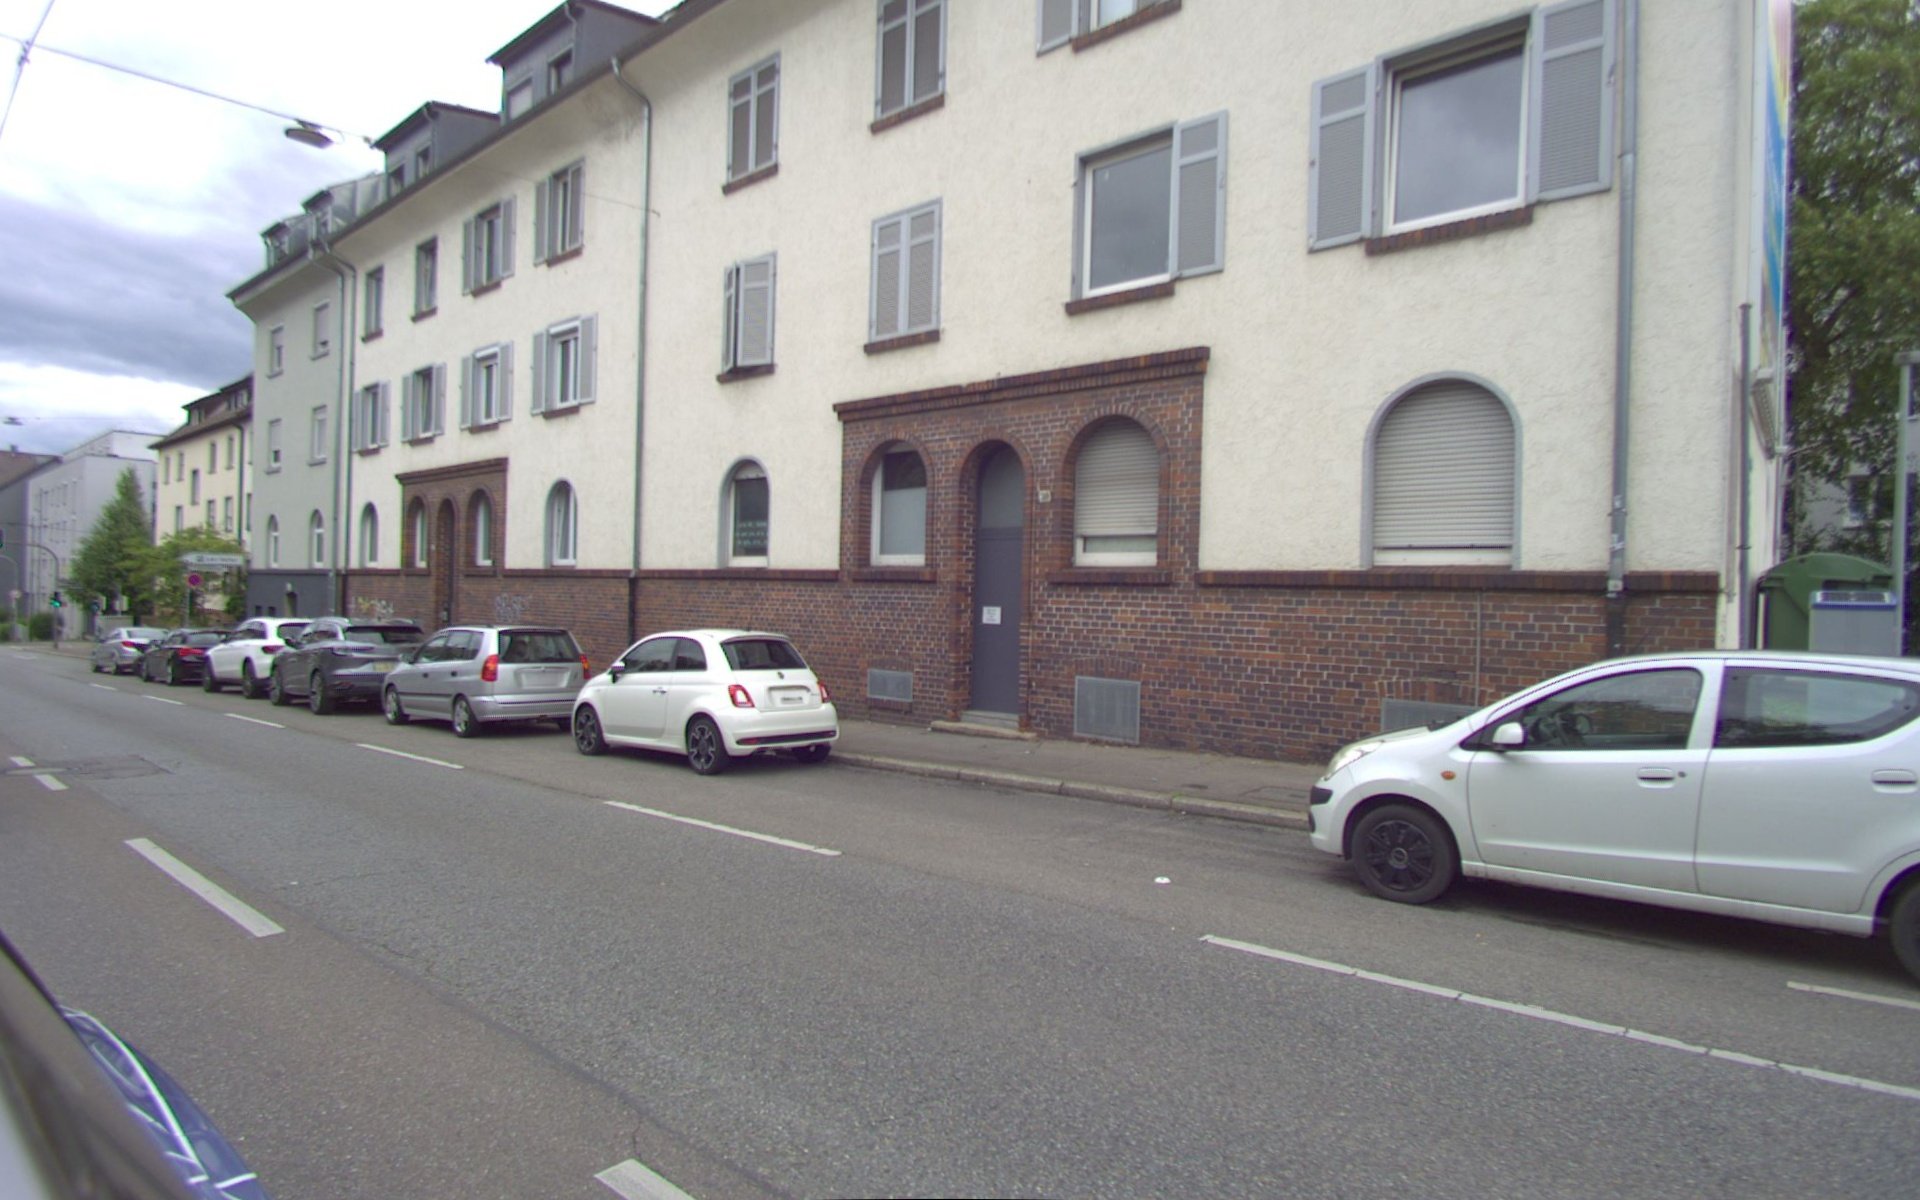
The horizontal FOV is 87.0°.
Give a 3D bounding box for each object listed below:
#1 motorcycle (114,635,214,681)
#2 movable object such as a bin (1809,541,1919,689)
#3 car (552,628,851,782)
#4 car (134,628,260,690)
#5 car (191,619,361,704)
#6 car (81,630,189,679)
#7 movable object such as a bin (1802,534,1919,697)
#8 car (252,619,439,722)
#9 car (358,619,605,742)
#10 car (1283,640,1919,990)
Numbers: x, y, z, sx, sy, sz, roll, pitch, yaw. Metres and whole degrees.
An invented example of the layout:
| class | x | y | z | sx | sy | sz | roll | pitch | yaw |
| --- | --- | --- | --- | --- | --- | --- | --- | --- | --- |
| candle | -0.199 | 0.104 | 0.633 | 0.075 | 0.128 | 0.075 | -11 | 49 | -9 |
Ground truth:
| class | x | y | z | sx | sy | sz | roll | pitch | yaw |
| --- | --- | --- | --- | --- | --- | --- | --- | --- | --- |
| motorcycle | -22.347 | 1.648 | 28.459 | 0.802 | 1.245 | 2.030 | -1 | -4 | 23 |
| movable object such as a bin | 10.256 | 0.190 | 11.341 | 1.104 | 1.550 | 1.251 | -1 | -4 | 41 |
| car | -3.037 | 1.071 | 11.567 | 3.602 | 1.486 | 1.531 | -1 | -3 | 41 |
| car | -19.392 | 1.449 | 25.659 | 4.189 | 1.440 | 1.709 | -2 | -3 | 41 |
| car | -14.786 | 1.260 | 21.770 | 4.640 | 1.634 | 1.826 | -2 | -3 | 40 |
| car | -24.872 | 1.594 | 30.473 | 4.333 | 1.384 | 1.709 | -1 | -3 | 40 |
| movable object such as a bin | 9.315 | 0.178 | 10.302 | 1.104 | 1.550 | 1.251 | -1 | -4 | 41 |
| car | -11.045 | 1.174 | 18.054 | 4.502 | 1.611 | 1.708 | -2 | -3 | 43 |
| car | -7.120 | 1.108 | 14.897 | 4.079 | 1.570 | 1.709 | -1 | -4 | 41 |
| car | 3.833 | 0.946 | 5.447 | 3.663 | 1.436 | 1.602 | -2 | -3 | 42 |
